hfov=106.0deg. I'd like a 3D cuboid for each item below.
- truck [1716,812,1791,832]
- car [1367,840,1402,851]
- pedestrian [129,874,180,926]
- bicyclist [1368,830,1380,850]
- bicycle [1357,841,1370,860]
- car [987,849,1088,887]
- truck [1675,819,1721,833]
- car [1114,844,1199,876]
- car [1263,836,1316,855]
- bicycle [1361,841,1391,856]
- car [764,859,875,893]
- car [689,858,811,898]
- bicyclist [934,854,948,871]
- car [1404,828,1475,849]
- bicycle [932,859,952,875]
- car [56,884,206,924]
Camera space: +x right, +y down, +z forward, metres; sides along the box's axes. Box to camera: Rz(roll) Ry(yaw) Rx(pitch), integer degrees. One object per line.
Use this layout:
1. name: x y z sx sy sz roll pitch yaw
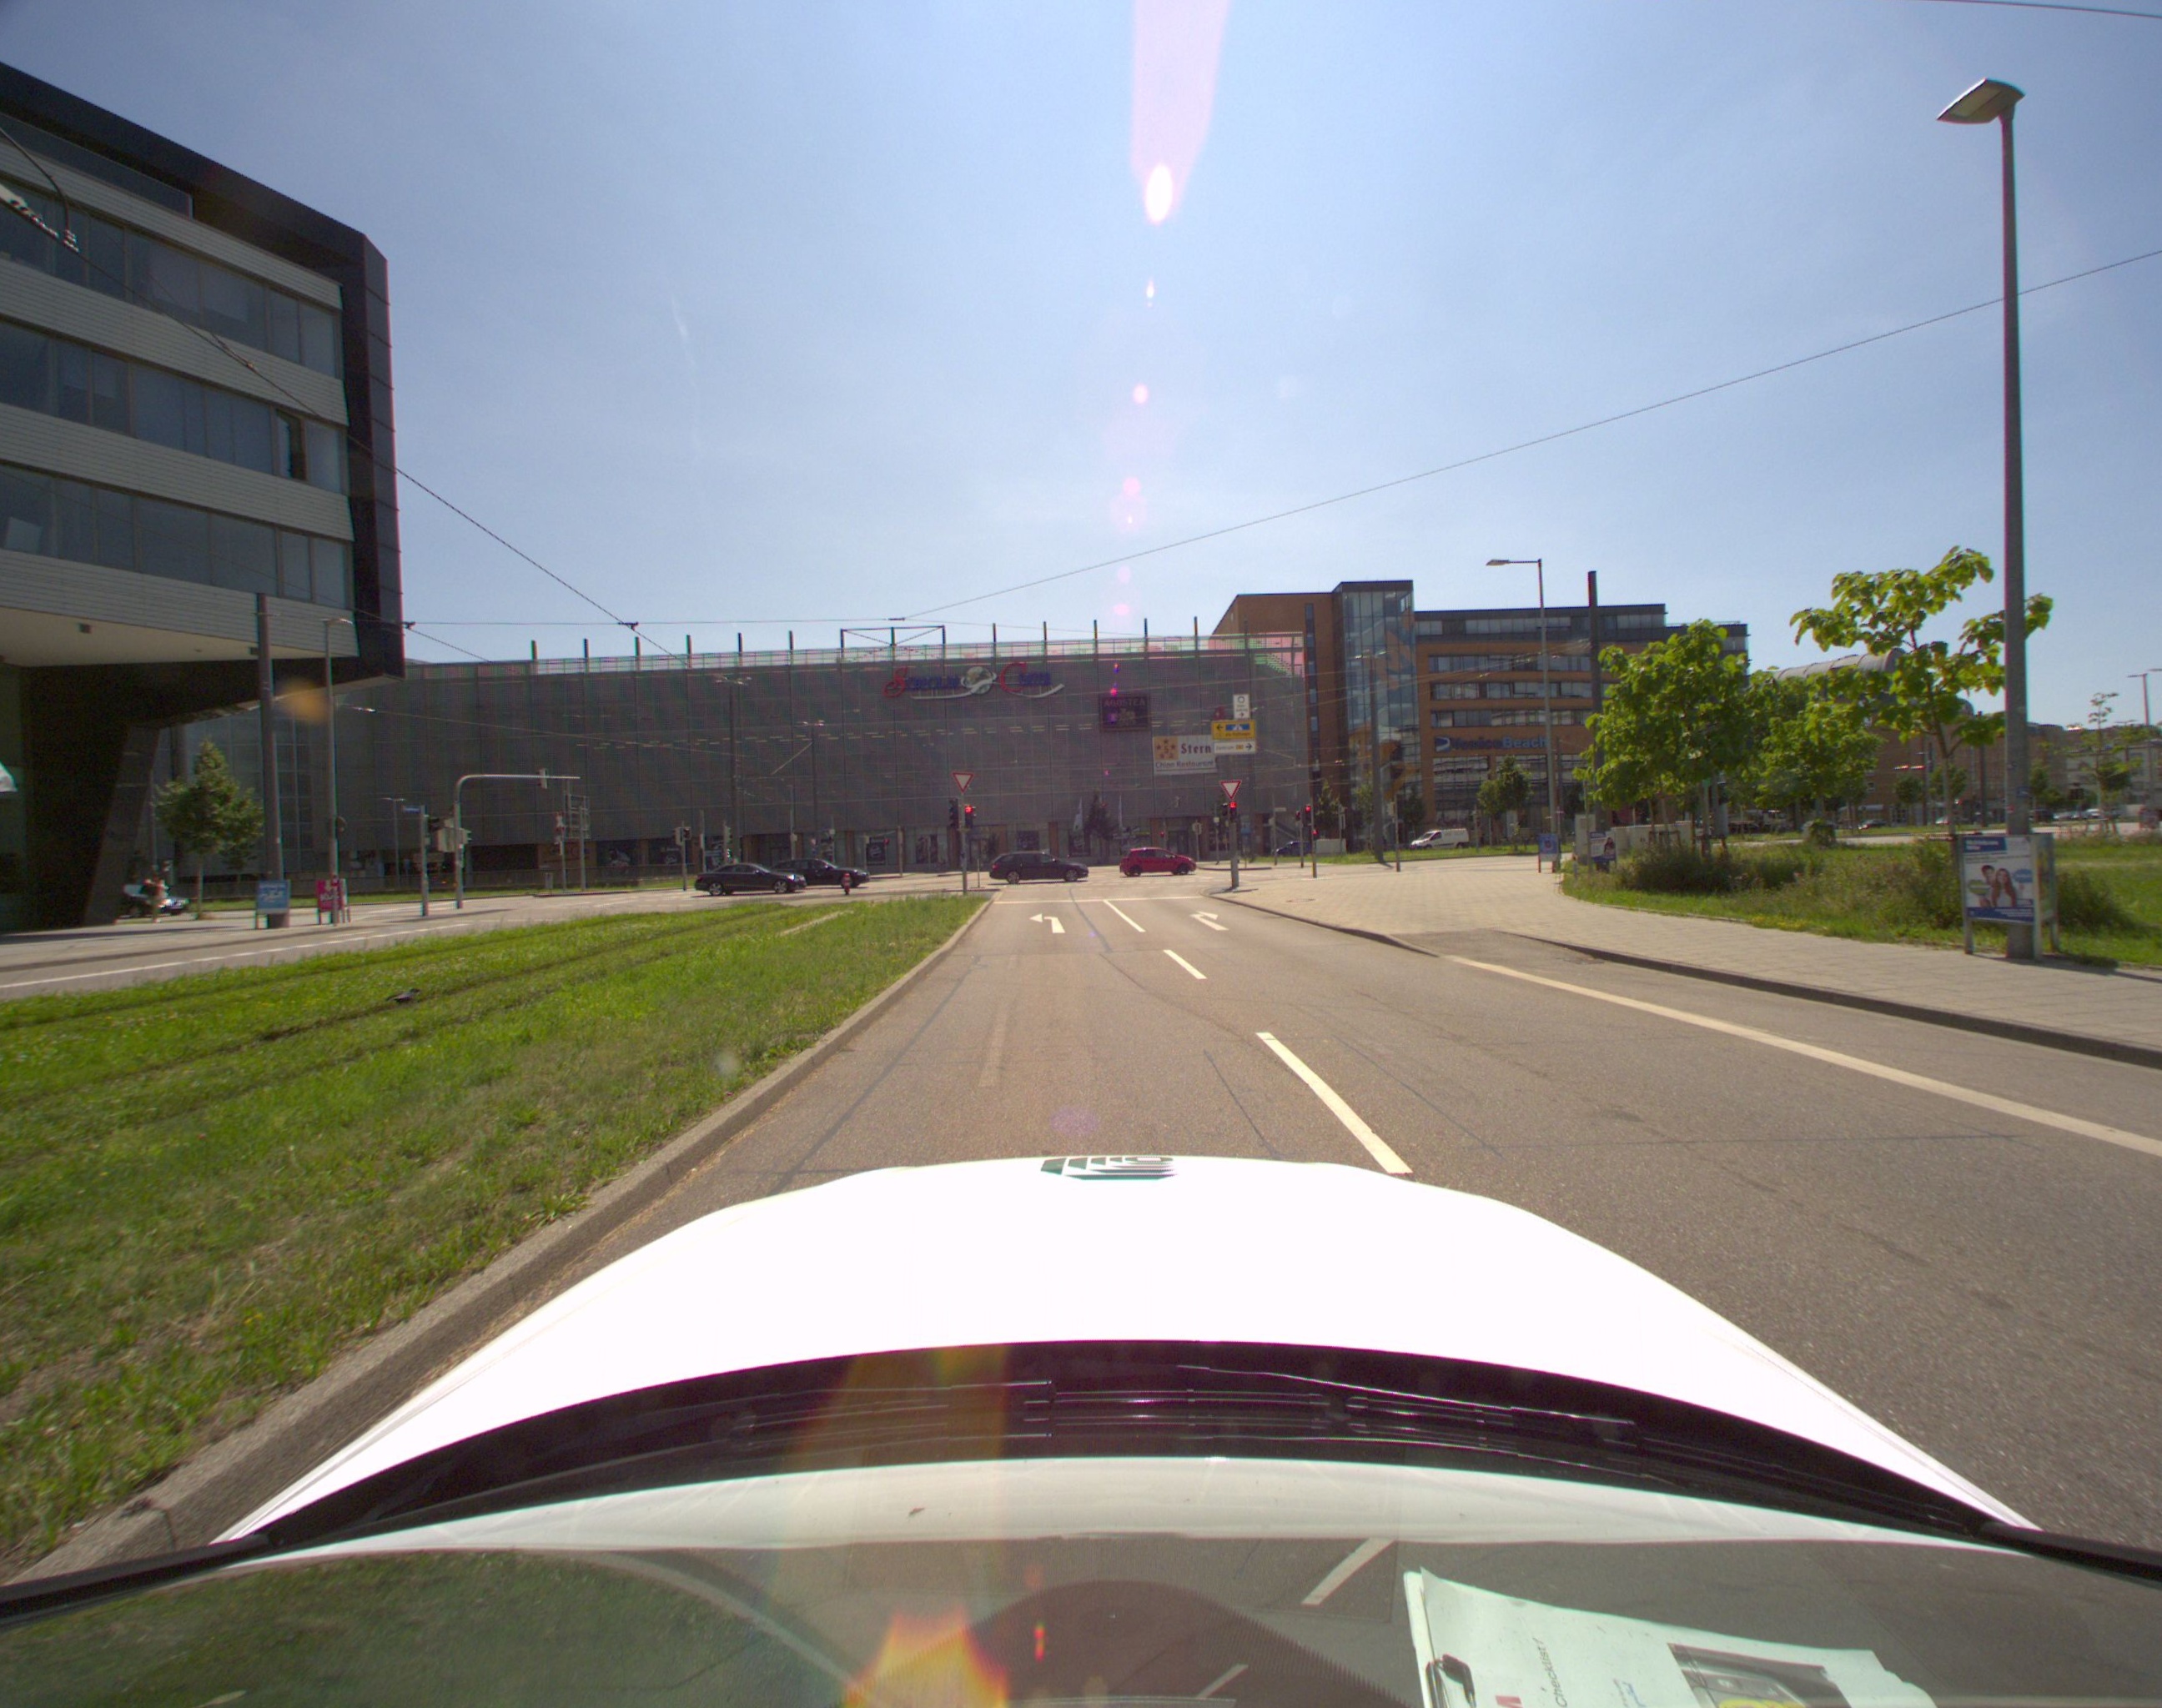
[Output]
1. truck: 104.224 -4.940 126.397 2.002 2.809 9.171 -2 1 -22
2. car: 30.730 -0.886 82.438 2.988 1.035 1.348 -1 1 -5
3. pedestrian: -32.841 1.620 28.888 0.908 1.746 0.968 -2 1 -33
4. bicyclist: 30.265 -1.415 84.061 0.909 2.013 0.748 -1 1 -1
5. bicycle: 30.101 -0.404 86.774 0.483 2.013 2.346 -1 1 0
6. car: -2.064 0.631 38.042 4.525 1.508 1.837 -3 1 -9
7. truck: 94.996 -4.307 125.422 1.886 2.013 5.333 -2 1 -27
8. car: 3.878 0.300 42.352 4.120 1.508 1.839 -1 1 -6
9. car: 17.695 -0.719 69.330 3.979 1.538 1.878 -1 1 -4
10. bicycle: 30.514 -0.575 84.129 2.840 1.557 0.705 -1 1 0
11. car: -12.664 1.029 39.692 4.757 1.460 1.885 -1 1 -5
12. car: -14.503 1.043 35.924 4.541 1.576 1.997 -1 1 -5
13. bicyclist: -13.015 0.792 75.807 1.035 1.571 0.778 -1 1 4
14. car: 31.451 -1.349 71.500 5.459 1.668 1.995 -1 1 -8
15. bicycle: -12.988 1.182 76.018 1.056 1.390 3.028 -1 1 5
16. car: -44.390 2.313 38.150 4.315 1.553 1.996 -1 1 -7
